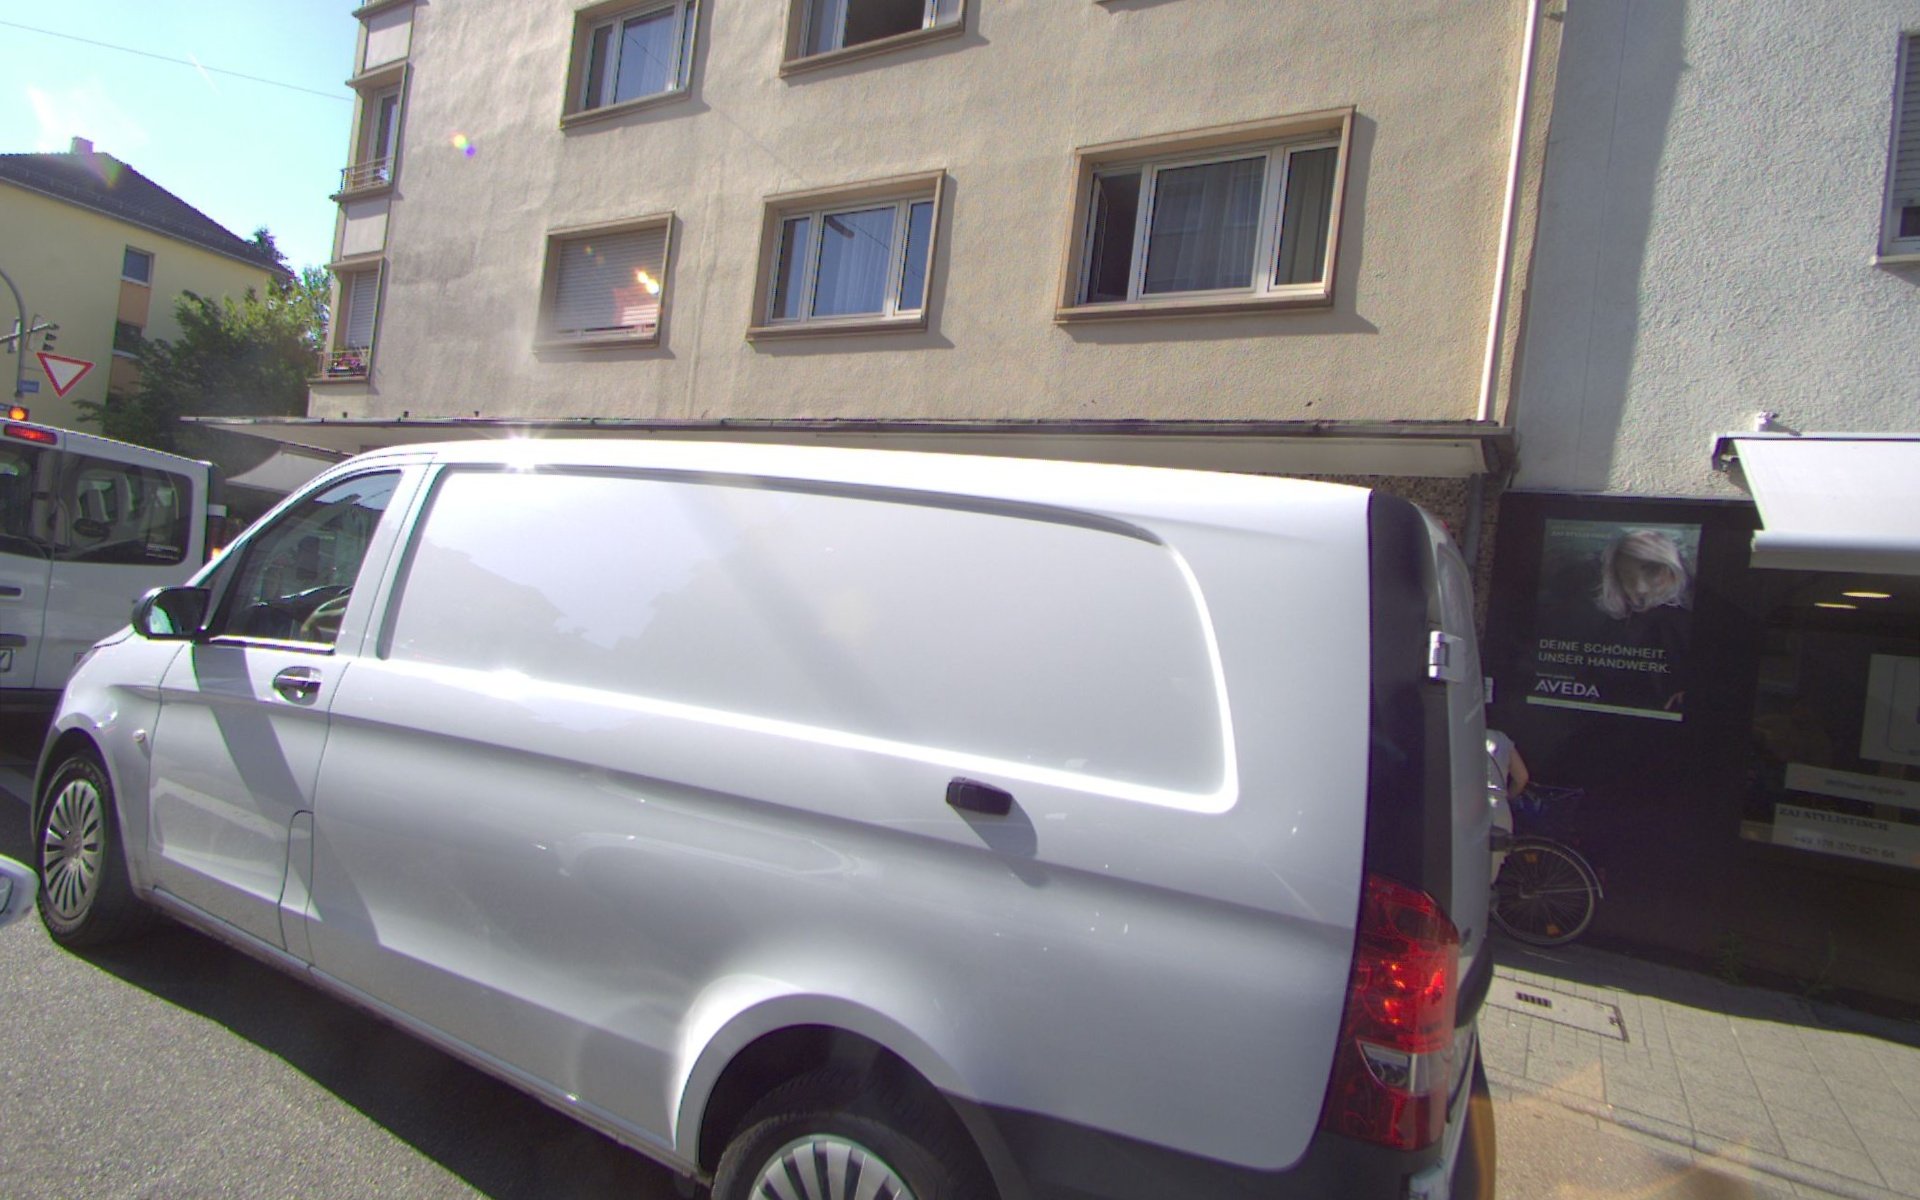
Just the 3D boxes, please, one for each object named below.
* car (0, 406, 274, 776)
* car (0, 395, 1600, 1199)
[{"bbox_3d":[-7.120,-0.247,6.949,4.814,2.002,1.997,7,-2,32],"label":"car"},{"bbox_3d":[-0.984,0.512,3.287,4.911,1.891,1.840,7,-1,30],"label":"car"}]
